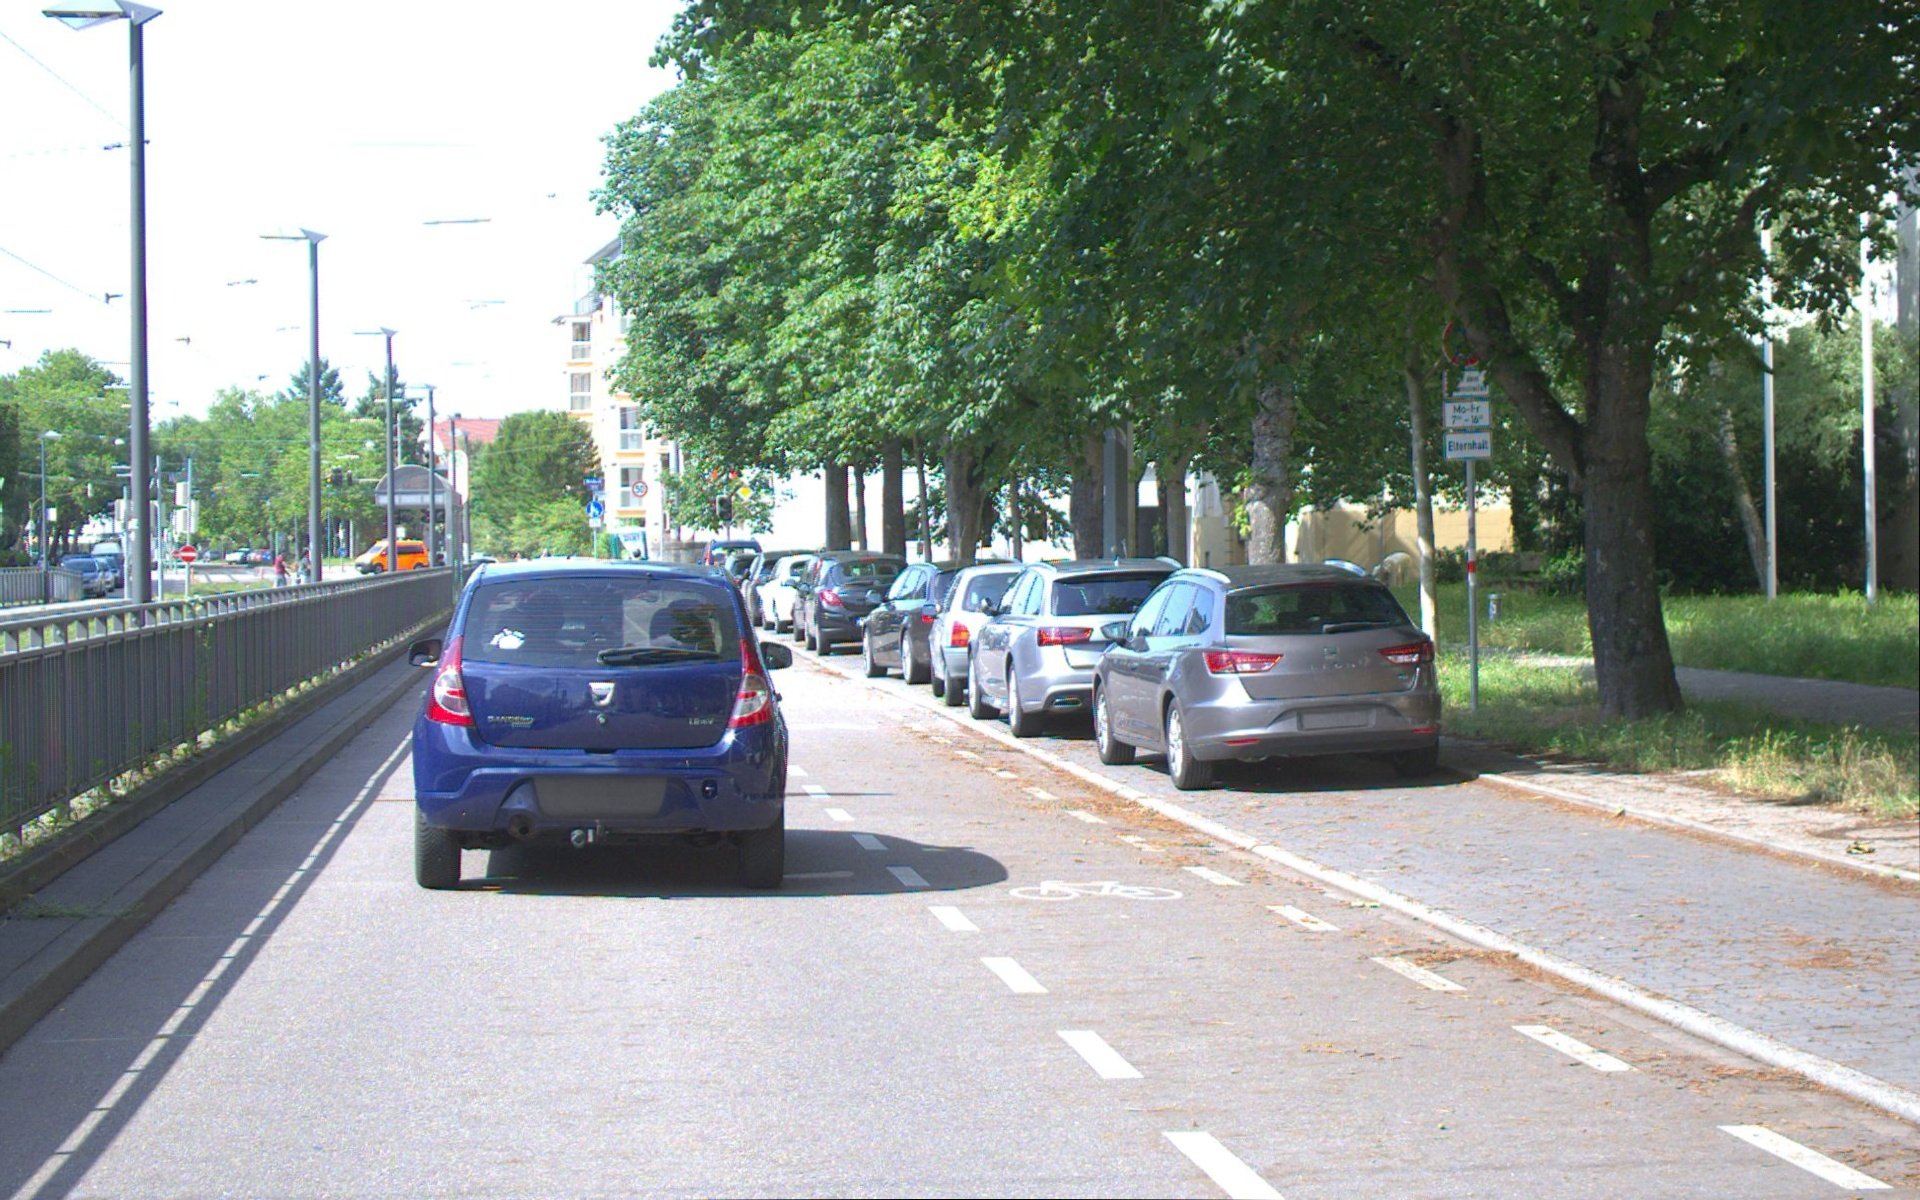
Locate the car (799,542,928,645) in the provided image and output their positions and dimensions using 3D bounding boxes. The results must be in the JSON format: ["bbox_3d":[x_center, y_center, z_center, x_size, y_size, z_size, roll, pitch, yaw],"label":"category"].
[{"bbox_3d":[-1.444,-0.134,52.563,1.861,1.440,4.000,-2,1,-1],"label":"car"}]

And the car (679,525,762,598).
[{"bbox_3d":[-5.968,-0.982,86.008,1.830,1.755,4.000,-1,1,-1],"label":"car"}]

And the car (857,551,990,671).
[{"bbox_3d":[-0.508,0.105,44.588,1.619,1.437,4.001,-1,1,-2],"label":"car"}]

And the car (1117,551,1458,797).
[{"bbox_3d":[2.144,0.434,23.555,1.861,1.440,4.000,-2,1,-1],"label":"car"}]

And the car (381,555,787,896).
[{"bbox_3d":[-1.825,0.529,16.983,1.767,1.457,3.776,0,1,-5],"label":"car"}]

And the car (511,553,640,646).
[{"bbox_3d":[-6.017,-0.025,54.107,1.700,1.363,3.515,2,1,-2],"label":"car"}]

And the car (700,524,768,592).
[{"bbox_3d":[-5.994,-1.135,91.413,1.667,1.766,4.001,-1,1,-2],"label":"car"}]

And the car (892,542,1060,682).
[{"bbox_3d":[0.156,0.101,40.058,1.851,1.510,4.000,-1,1,-1],"label":"car"}]

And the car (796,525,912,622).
[{"bbox_3d":[-1.757,-0.479,58.068,1.828,1.532,4.000,-1,1,-1],"label":"car"}]

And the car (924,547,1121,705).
[{"bbox_3d":[0.589,0.223,35.454,1.861,1.440,4.000,-2,1,-1],"label":"car"}]

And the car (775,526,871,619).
[{"bbox_3d":[-2.689,-0.557,66.695,1.617,1.744,4.001,-1,1,-5],"label":"car"}]

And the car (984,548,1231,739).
[{"bbox_3d":[1.203,0.322,29.644,1.861,1.440,4.000,-2,1,-1],"label":"car"}]
